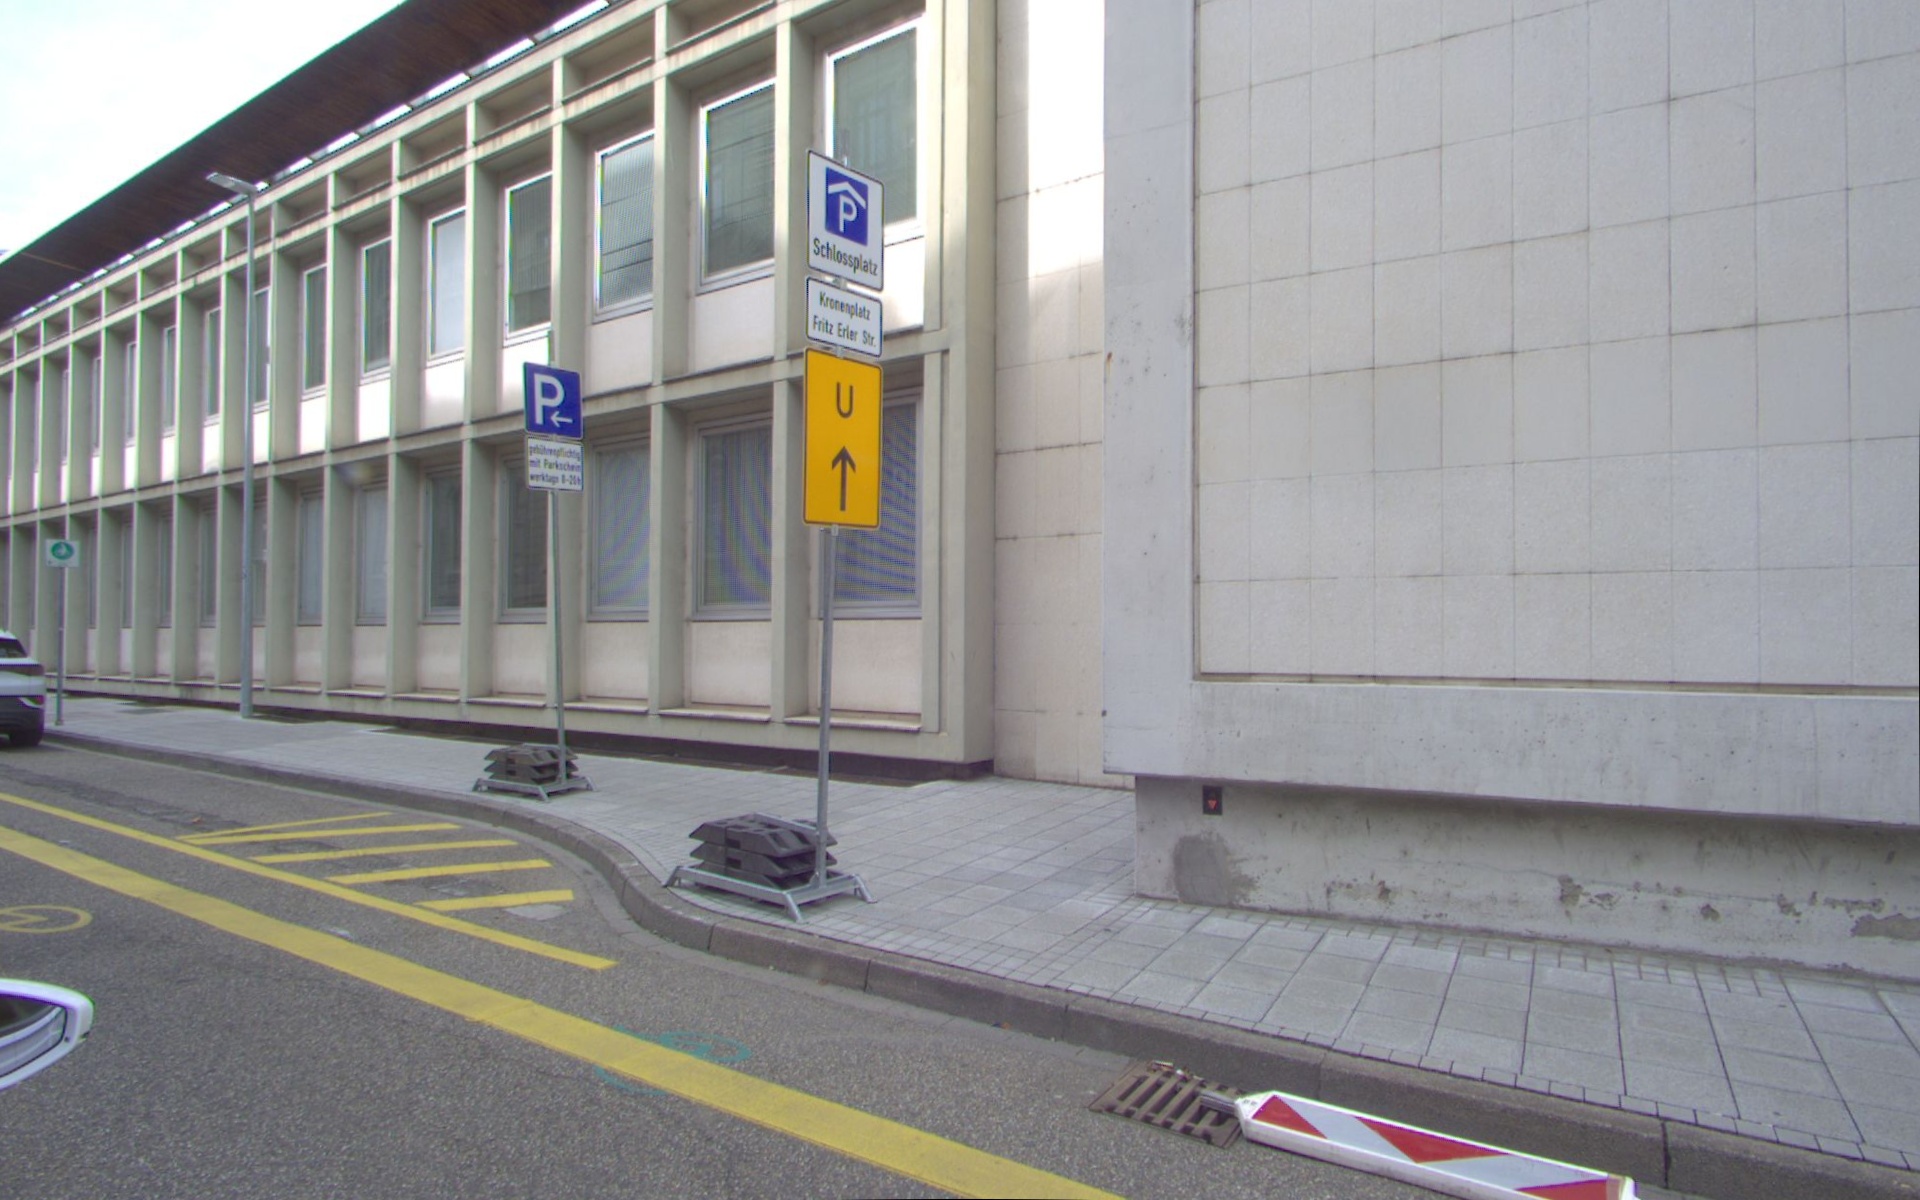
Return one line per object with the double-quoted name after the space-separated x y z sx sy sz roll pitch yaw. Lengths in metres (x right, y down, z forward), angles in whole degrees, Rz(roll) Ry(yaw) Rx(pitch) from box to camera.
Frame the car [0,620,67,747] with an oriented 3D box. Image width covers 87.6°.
-14.375 1.098 13.950 4.452 1.624 1.857 -1 -5 35 "car"
